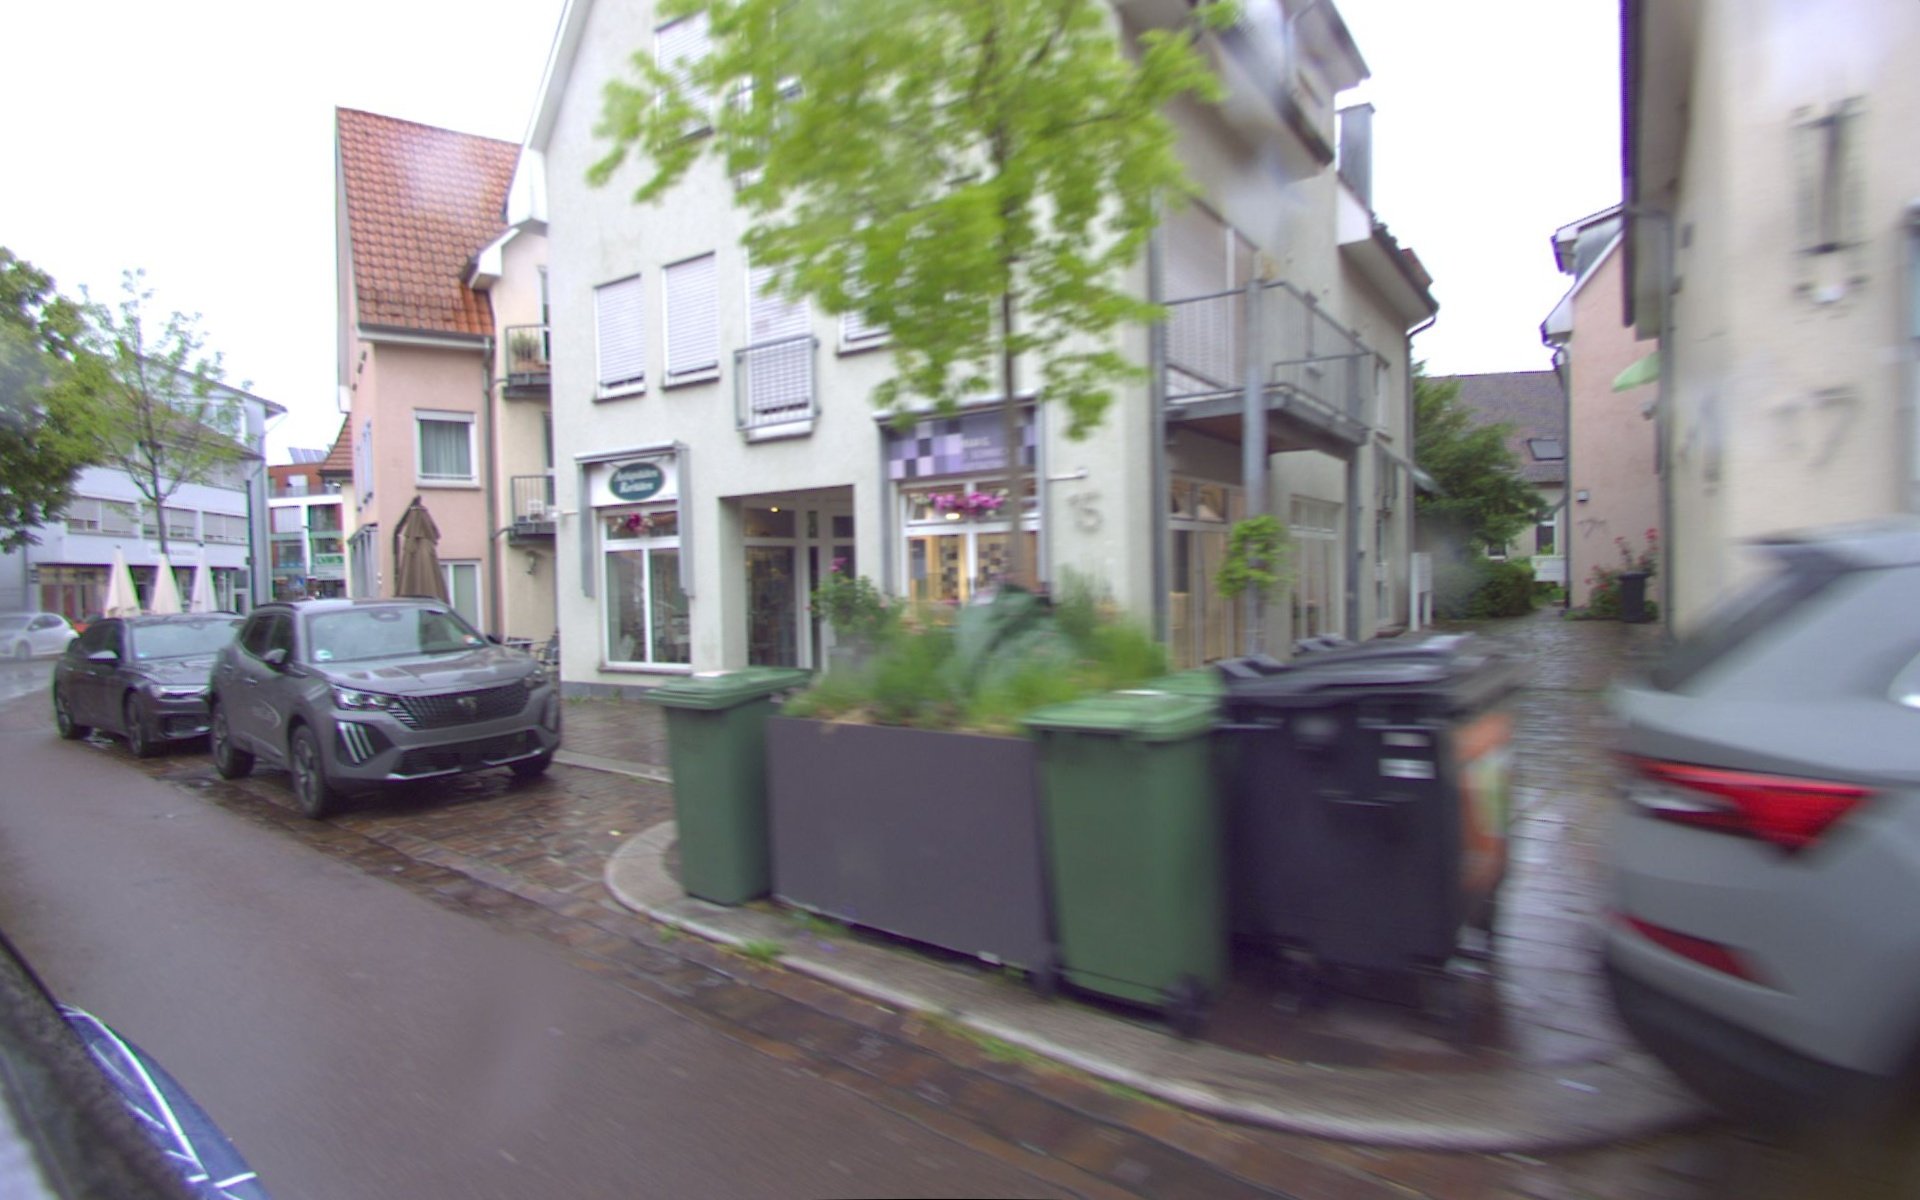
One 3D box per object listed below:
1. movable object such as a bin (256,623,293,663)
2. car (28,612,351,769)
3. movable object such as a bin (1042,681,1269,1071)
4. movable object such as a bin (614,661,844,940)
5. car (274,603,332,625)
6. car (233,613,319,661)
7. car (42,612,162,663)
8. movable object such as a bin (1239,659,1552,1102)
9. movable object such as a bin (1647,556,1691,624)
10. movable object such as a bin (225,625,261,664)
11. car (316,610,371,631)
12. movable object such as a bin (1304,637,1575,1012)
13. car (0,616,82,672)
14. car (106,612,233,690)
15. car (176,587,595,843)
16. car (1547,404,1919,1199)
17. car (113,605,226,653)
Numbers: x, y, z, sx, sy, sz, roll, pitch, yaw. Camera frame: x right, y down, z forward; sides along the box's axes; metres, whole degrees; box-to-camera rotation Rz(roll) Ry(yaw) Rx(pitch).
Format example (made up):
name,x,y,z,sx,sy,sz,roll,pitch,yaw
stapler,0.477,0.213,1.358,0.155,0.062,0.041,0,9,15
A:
name,x,y,z,sx,sy,sz,roll,pitch,yaw
movable object such as a bin,-21.295,1.330,31.468,0.690,1.130,0.721,-5,3,-17
car,-9.271,0.955,12.041,4.611,1.453,1.845,-2,1,37
movable object such as a bin,0.652,0.837,3.326,0.534,1.054,0.546,0,3,37
movable object such as a bin,-1.090,0.885,4.817,0.743,1.091,0.739,0,3,38
car,-51.768,1.110,79.751,3.890,1.566,1.793,-1,2,19
car,-23.813,1.260,35.365,1.823,1.463,4.086,-3,0,-25
car,-30.886,1.306,36.581,1.763,1.479,3.962,-2,3,-16
movable object such as a bin,1.381,0.785,3.201,0.780,1.109,0.610,0,3,38
movable object such as a bin,13.100,-0.193,18.696,0.648,1.203,0.610,0,3,38
movable object such as a bin,-22.082,1.367,31.193,0.690,1.152,0.721,-2,0,-17
car,-47.467,1.569,77.927,3.554,1.446,1.671,-1,2,17
movable object such as a bin,1.750,0.731,3.685,0.780,1.128,0.610,0,3,38
car,-29.499,1.343,31.473,1.763,1.567,3.961,-1,1,-16
car,-19.713,1.195,25.429,1.849,1.552,4.414,-3,3,-30
car,-5.064,0.770,8.630,4.328,1.535,1.842,-1,3,43
car,3.504,0.453,1.139,4.641,1.678,1.805,-1,2,42
car,-32.590,1.145,41.911,1.764,1.651,4.450,-2,2,-10
